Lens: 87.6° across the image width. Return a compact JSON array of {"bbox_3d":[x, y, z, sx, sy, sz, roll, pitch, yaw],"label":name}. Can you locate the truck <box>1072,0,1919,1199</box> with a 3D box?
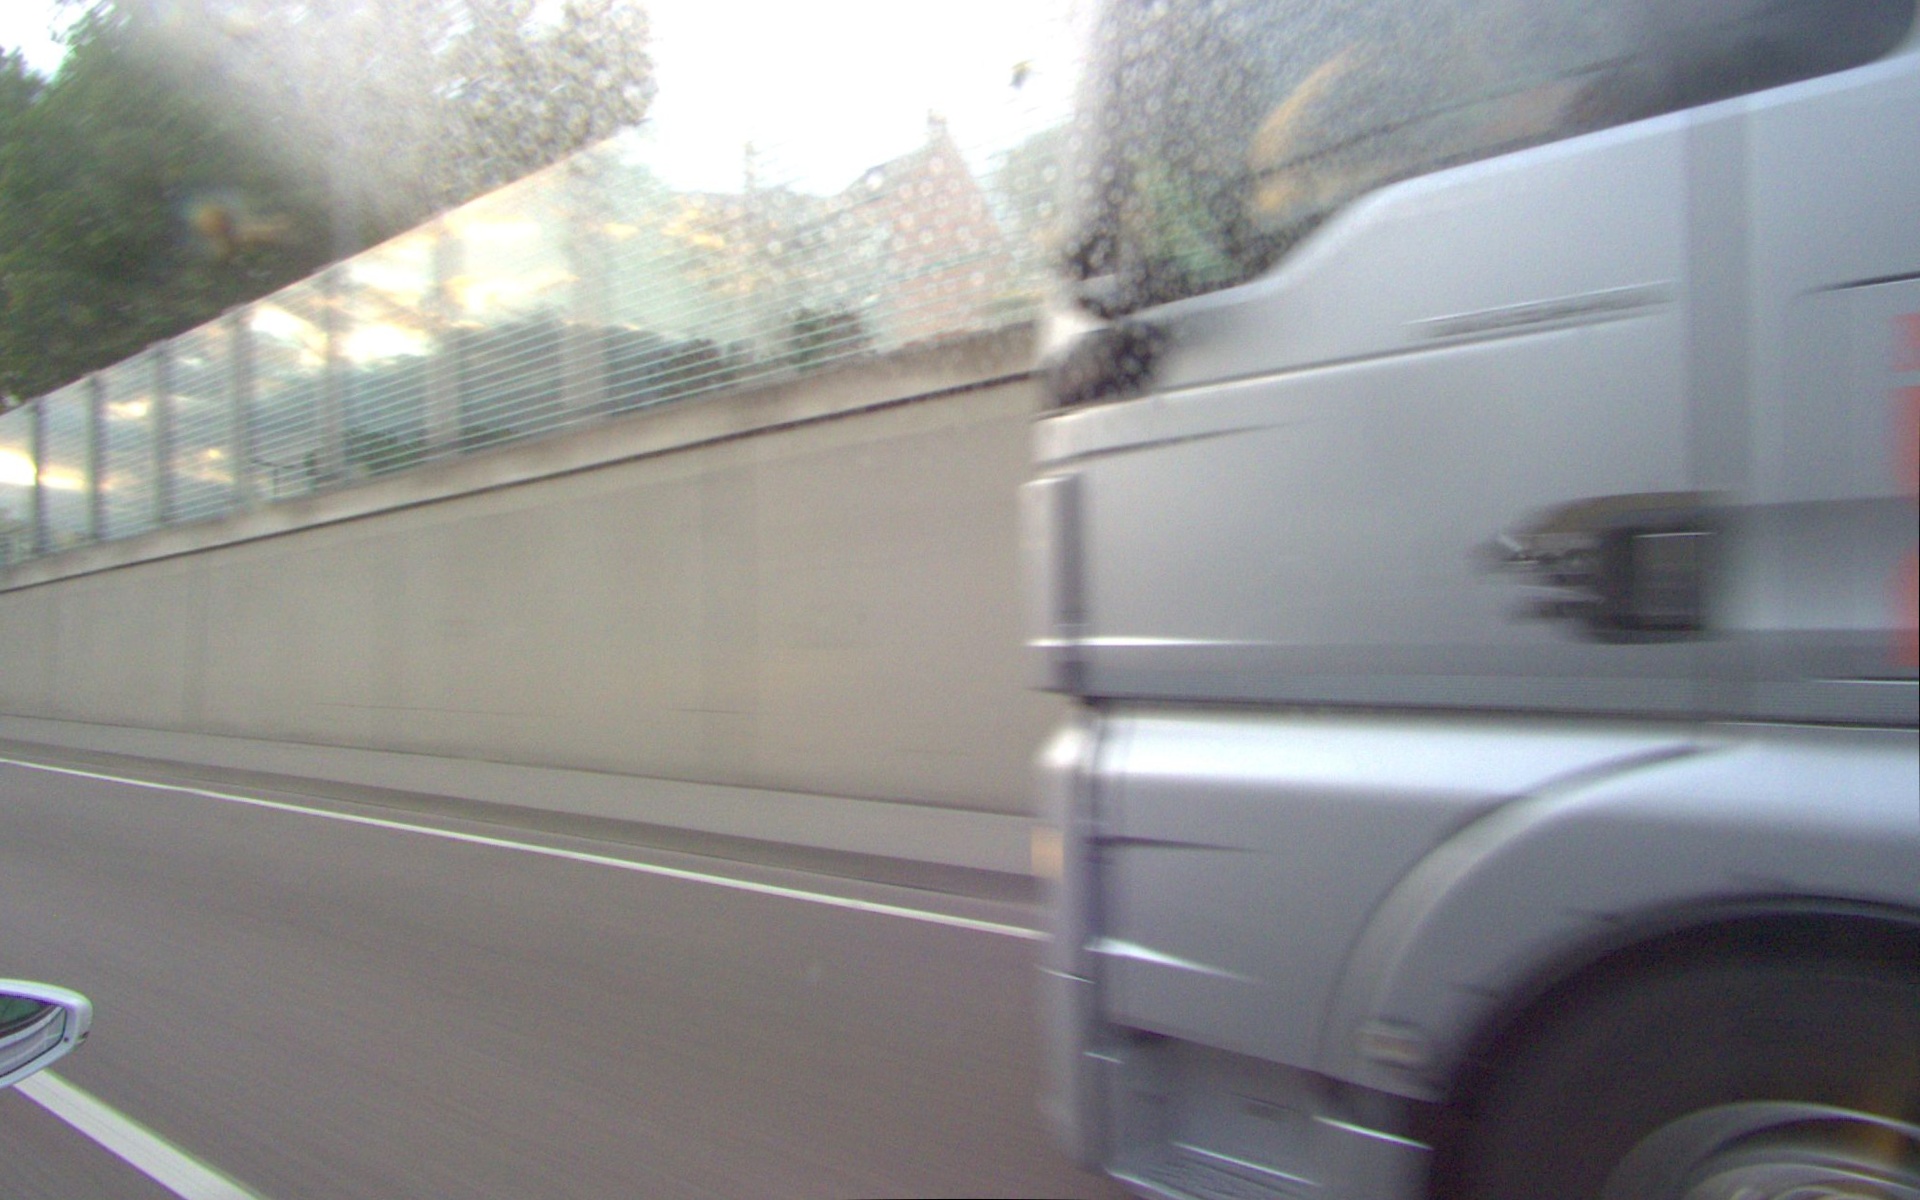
[{"bbox_3d":[5.078,-0.571,0.489,9.771,3.964,2.883,-2,-1,33],"label":"truck"}]
